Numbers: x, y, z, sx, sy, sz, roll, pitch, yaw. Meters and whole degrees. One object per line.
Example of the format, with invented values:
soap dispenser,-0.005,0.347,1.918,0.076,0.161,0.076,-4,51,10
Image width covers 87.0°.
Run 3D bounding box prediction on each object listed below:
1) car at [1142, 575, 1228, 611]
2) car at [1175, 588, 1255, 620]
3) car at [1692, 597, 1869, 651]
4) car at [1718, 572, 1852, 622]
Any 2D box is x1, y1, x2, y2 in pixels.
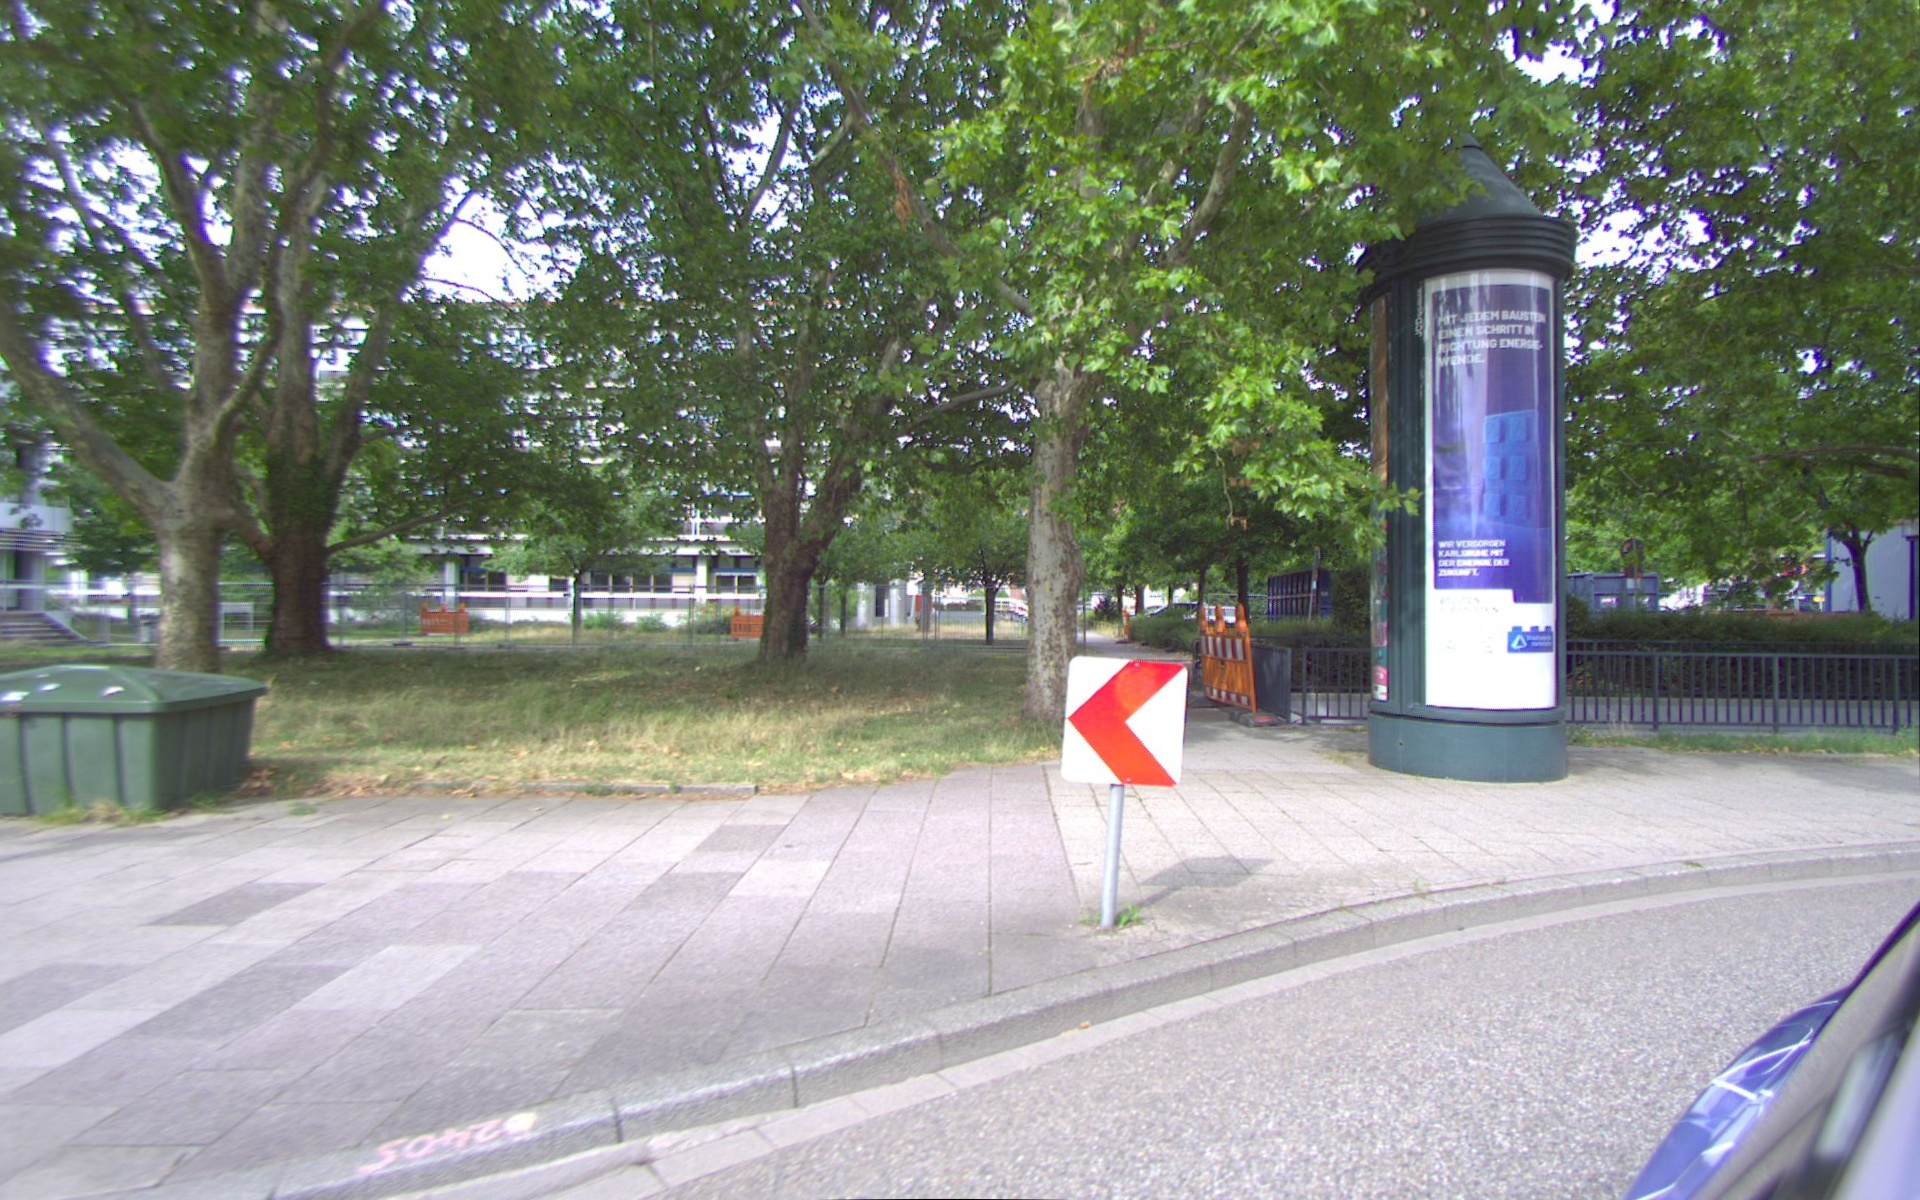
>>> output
car,13.464,-0.383,60.666,4.682,2.040,1.999,1,-2,0
car,13.407,0.236,53.366,3.717,1.601,1.999,1,-2,0
car,29.281,0.853,36.228,4.682,1.817,1.999,1,-2,0
car,45.809,-0.125,56.285,5.392,2.648,2.442,1,-2,0
